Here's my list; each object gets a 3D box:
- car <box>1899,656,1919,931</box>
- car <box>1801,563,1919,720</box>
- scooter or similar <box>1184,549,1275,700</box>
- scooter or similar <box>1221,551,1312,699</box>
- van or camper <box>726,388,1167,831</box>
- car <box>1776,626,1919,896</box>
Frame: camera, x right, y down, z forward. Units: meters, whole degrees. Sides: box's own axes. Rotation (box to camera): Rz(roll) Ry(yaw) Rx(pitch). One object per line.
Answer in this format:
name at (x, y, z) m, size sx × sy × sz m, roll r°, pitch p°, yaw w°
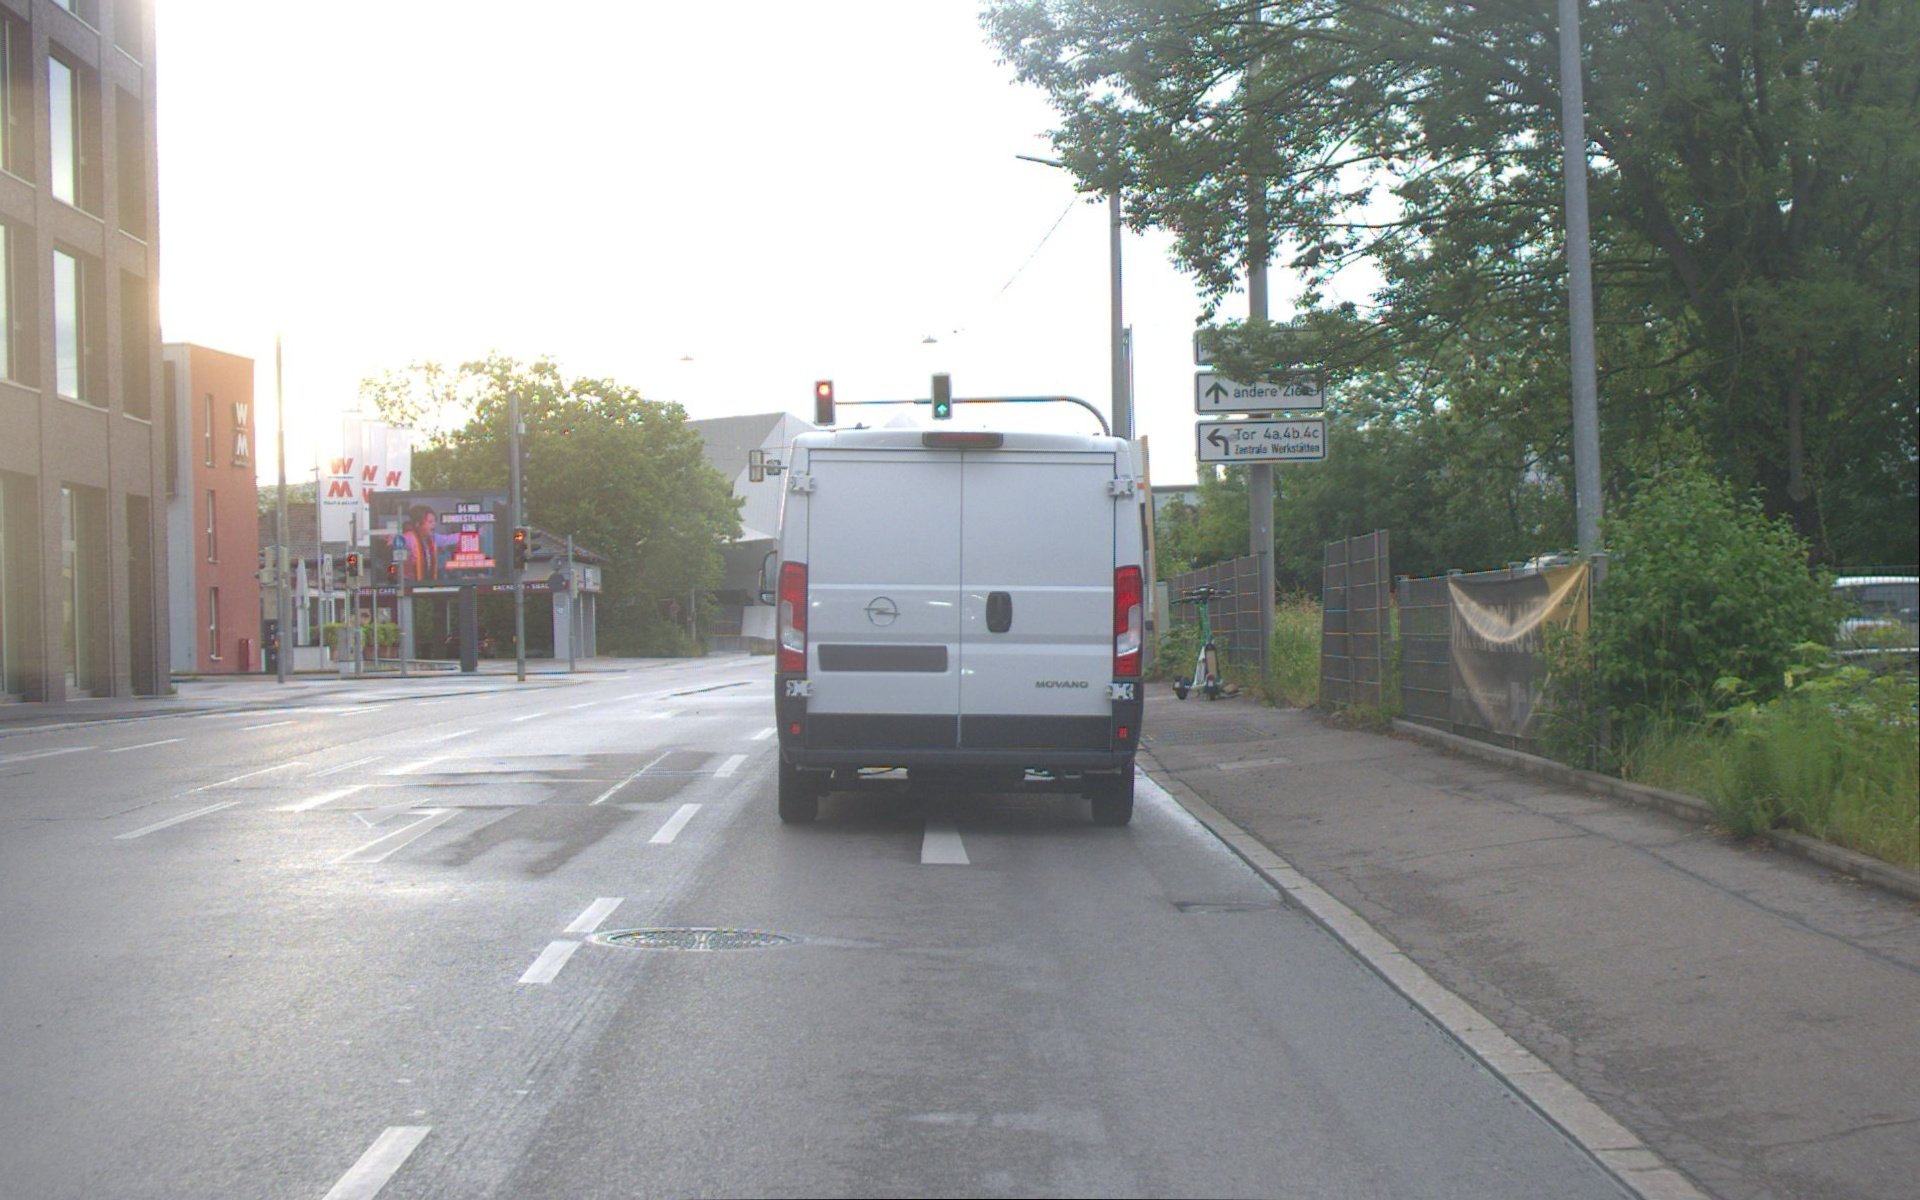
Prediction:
car at (7.324, 1.074, 18.580) m, size 3.987 × 1.516 × 1.804 m, roll 0°, pitch 1°, yaw -1°
car at (11.237, 0.306, 36.535) m, size 3.986 × 1.516 × 1.804 m, roll -5°, pitch 1°, yaw -5°
scooter or similar at (2.884, 0.249, 36.917) m, size 0.434 × 1.582 × 1.273 m, roll -1°, pitch 1°, yaw -23°
scooter or similar at (3.300, 0.255, 37.095) m, size 0.434 × 1.559 × 1.273 m, roll -1°, pitch 1°, yaw -22°
van or camper at (-0.069, -0.008, 20.903) m, size 2.340 × 2.349 × 5.200 m, roll 0°, pitch 1°, yaw 0°
car at (7.242, 0.929, 21.052) m, size 3.986 × 1.516 × 1.804 m, roll 0°, pitch 1°, yaw -5°
